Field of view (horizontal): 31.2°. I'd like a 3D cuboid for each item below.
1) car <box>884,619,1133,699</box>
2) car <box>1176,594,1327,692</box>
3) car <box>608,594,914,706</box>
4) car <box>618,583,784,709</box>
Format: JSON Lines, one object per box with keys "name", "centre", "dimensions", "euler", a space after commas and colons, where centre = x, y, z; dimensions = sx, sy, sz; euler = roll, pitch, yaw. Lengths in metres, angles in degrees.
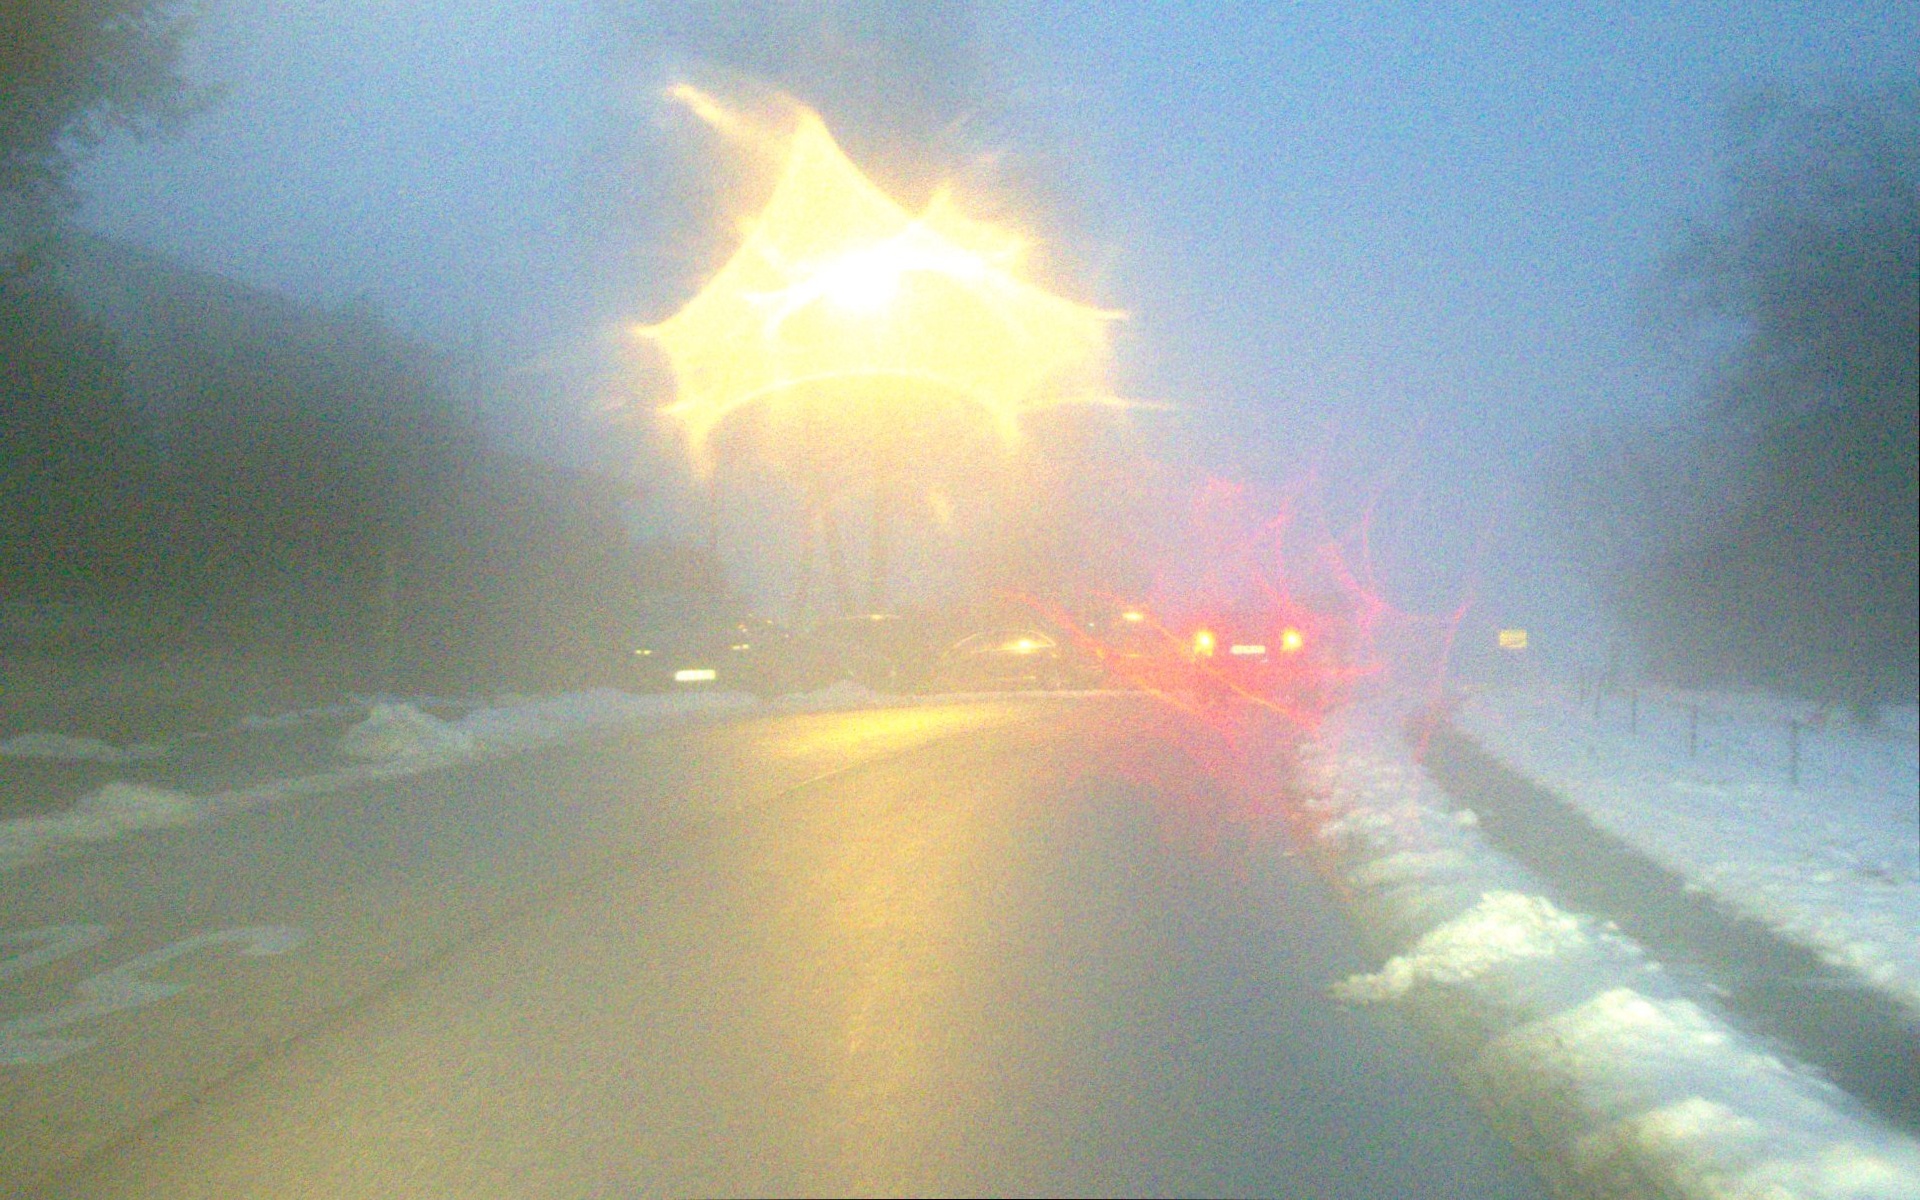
{"name": "car", "centre": [1.044, 1.248, 72.318], "dimensions": [4.889, 1.480, 2.122], "euler": [-2, -2, 11]}
{"name": "car", "centre": [4.485, 0.629, 52.440], "dimensions": [1.994, 1.415, 3.998], "euler": [0, 0, 9]}
{"name": "car", "centre": [-3.063, 0.792, 53.608], "dimensions": [4.528, 1.561, 2.110], "euler": [-2, -1, 3]}
{"name": "car", "centre": [-3.666, 0.684, 47.865], "dimensions": [1.993, 1.561, 4.998], "euler": [-3, -2, -7]}
